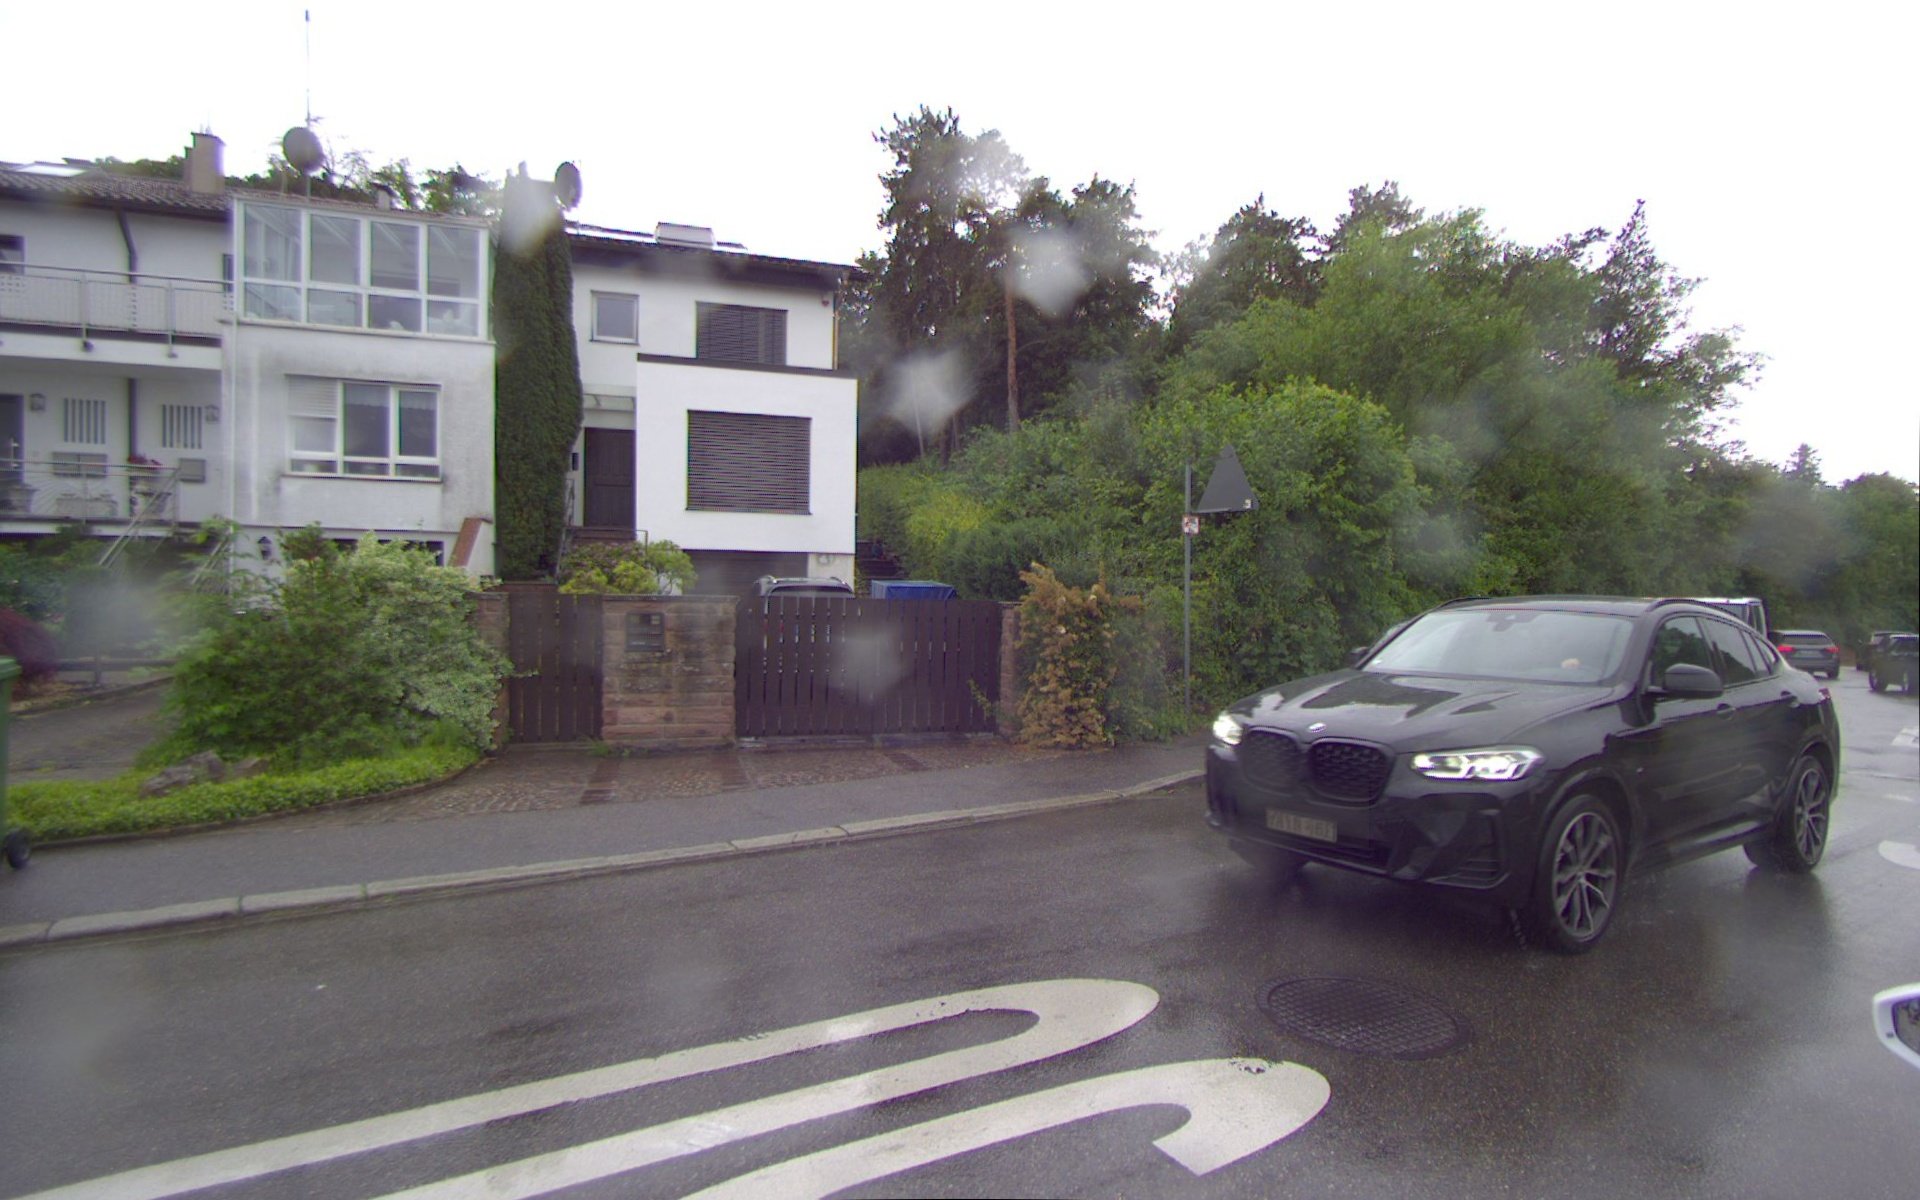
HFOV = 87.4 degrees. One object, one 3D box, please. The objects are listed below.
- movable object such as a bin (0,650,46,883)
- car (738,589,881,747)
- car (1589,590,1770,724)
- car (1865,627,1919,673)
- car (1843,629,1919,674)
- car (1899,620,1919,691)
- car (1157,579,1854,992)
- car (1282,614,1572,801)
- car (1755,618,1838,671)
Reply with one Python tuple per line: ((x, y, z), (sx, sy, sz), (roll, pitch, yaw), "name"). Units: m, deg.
((-4.924, 0.816, 4.767), (0.614, 1.082, 0.843), (0, 2, -24), "movable object such as a bin")
((-2.308, 0.842, 14.654), (1.710, 1.975, 3.673), (0, 1, -14), "car")
((12.732, 0.898, 17.614), (2.087, 2.001, 5.146), (0, -1, 41), "car")
((32.938, 1.707, 35.001), (1.734, 1.481, 4.283), (2, 0, 38), "car")
((36.434, 1.986, 39.793), (1.852, 1.613, 4.461), (1, -1, 38), "car")
((24.128, 1.439, 24.351), (1.847, 1.531, 4.073), (3, -3, 42), "car")
((3.395, 0.779, 5.979), (4.299, 1.626, 1.918), (2, -1, -35), "car")
((4.640, 0.923, 9.850), (2.921, 1.531, 1.587), (2, -1, -42), "car")
((28.687, 1.475, 34.553), (1.968, 1.627, 4.392), (2, 0, 37), "car")
